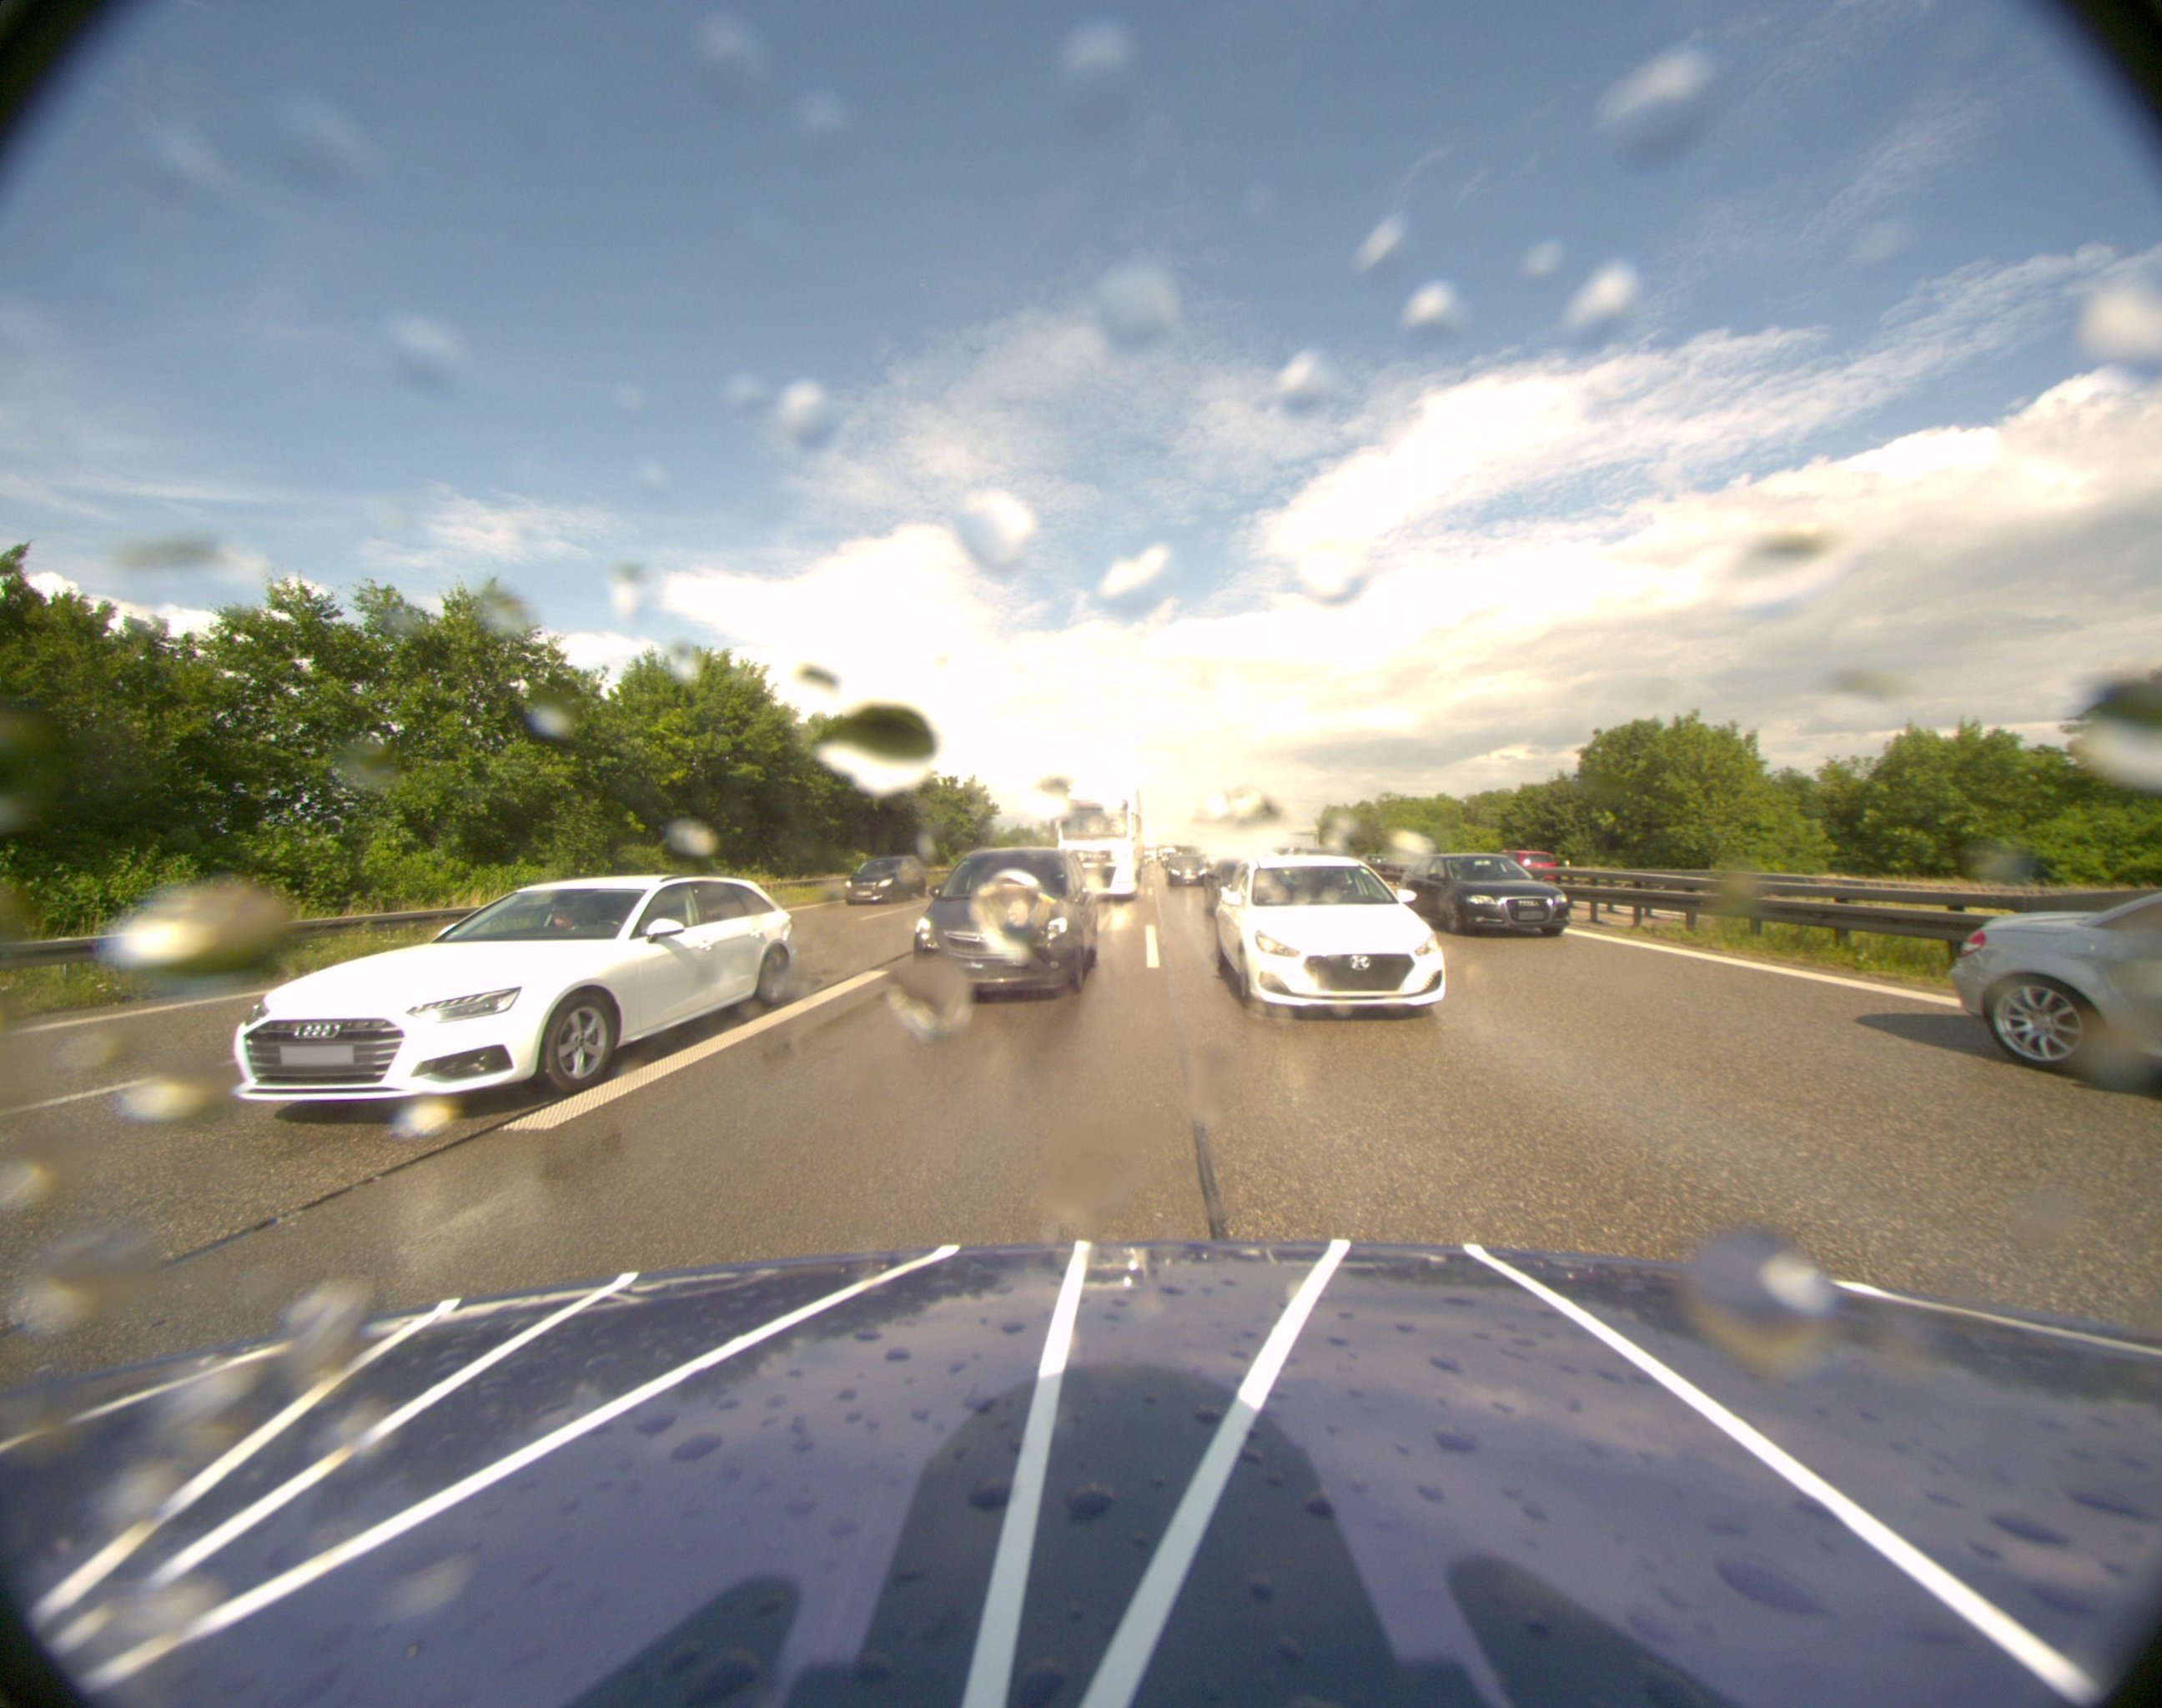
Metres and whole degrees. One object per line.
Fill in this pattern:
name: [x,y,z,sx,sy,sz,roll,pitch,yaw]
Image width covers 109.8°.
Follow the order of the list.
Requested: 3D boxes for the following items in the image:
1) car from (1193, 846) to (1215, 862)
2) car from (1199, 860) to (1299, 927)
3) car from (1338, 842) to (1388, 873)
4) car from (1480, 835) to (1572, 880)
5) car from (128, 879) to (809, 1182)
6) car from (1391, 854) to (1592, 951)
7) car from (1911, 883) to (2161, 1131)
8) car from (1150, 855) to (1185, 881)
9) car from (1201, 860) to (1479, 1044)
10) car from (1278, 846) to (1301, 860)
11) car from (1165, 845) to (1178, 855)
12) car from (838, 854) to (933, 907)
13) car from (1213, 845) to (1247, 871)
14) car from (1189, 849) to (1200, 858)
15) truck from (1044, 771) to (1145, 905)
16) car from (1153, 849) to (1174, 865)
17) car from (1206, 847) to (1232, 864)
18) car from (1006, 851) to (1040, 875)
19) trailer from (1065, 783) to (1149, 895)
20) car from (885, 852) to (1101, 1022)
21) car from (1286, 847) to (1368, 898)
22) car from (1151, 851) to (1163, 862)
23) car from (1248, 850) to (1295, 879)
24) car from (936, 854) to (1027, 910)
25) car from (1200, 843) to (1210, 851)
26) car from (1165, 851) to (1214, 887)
car: [13.838,0.002,85.647,1.998,1.687,4.000,-2,1,4]
car: [3.851,0.855,18.093,1.728,1.330,4.288,-1,0,5]
car: [18.026,0.199,48.757,1.998,1.828,4.001,-1,0,4]
car: [21.403,0.130,36.784,1.998,2.002,4.654,-1,0,4]
car: [-4.134,1.023,6.359,1.831,1.417,4.512,0,1,4]
car: [7.257,0.768,13.956,1.770,1.417,4.140,-2,1,6]
car: [6.692,0.866,3.394,1.728,1.270,4.064,-1,0,5]
car: [5.527,0.874,48.896,1.998,1.471,4.000,-2,1,4]
car: [2.496,0.839,8.568,1.885,1.446,4.549,-1,0,5]
car: [27.724,-0.135,101.084,1.998,1.677,4.462,-1,0,4]
car: [16.379,-0.767,137.482,1.998,1.687,4.000,-2,1,4]
car: [-6.717,0.864,26.634,1.824,1.611,4.365,-2,0,5]
car: [11.263,0.263,57.528,1.998,1.739,4.000,-2,1,4]
car: [22.894,-0.043,153.275,1.998,1.687,4.000,-2,1,4]
truck: [0.733,-0.524,27.266,2.816,4.083,7.448,-2,1,6]
car: [8.425,0.279,77.878,1.998,1.471,4.000,-2,1,4]
car: [13.162,0.122,72.495,1.998,1.471,4.000,-2,1,4]
car: [-4.119,0.642,54.521,1.752,1.577,4.287,-2,1,5]
trailer: [1.469,-0.613,33.910,2.789,4.083,11.542,-2,1,6]
car: [-0.811,0.817,9.640,1.883,1.638,4.397,-1,0,5]
car: [8.545,0.586,26.801,1.874,1.597,4.230,-1,1,6]
car: [13.368,0.384,133.787,1.998,1.687,4.000,-2,1,4]
car: [9.942,0.522,39.910,1.771,1.371,4.000,-1,1,4]
car: [-3.108,0.835,24.738,1.998,1.572,4.654,-1,0,5]
car: [28.517,-1.524,175.061,1.998,1.768,4.462,-1,0,5]
car: [4.955,0.634,35.129,1.998,1.478,4.000,-1,1,4]
